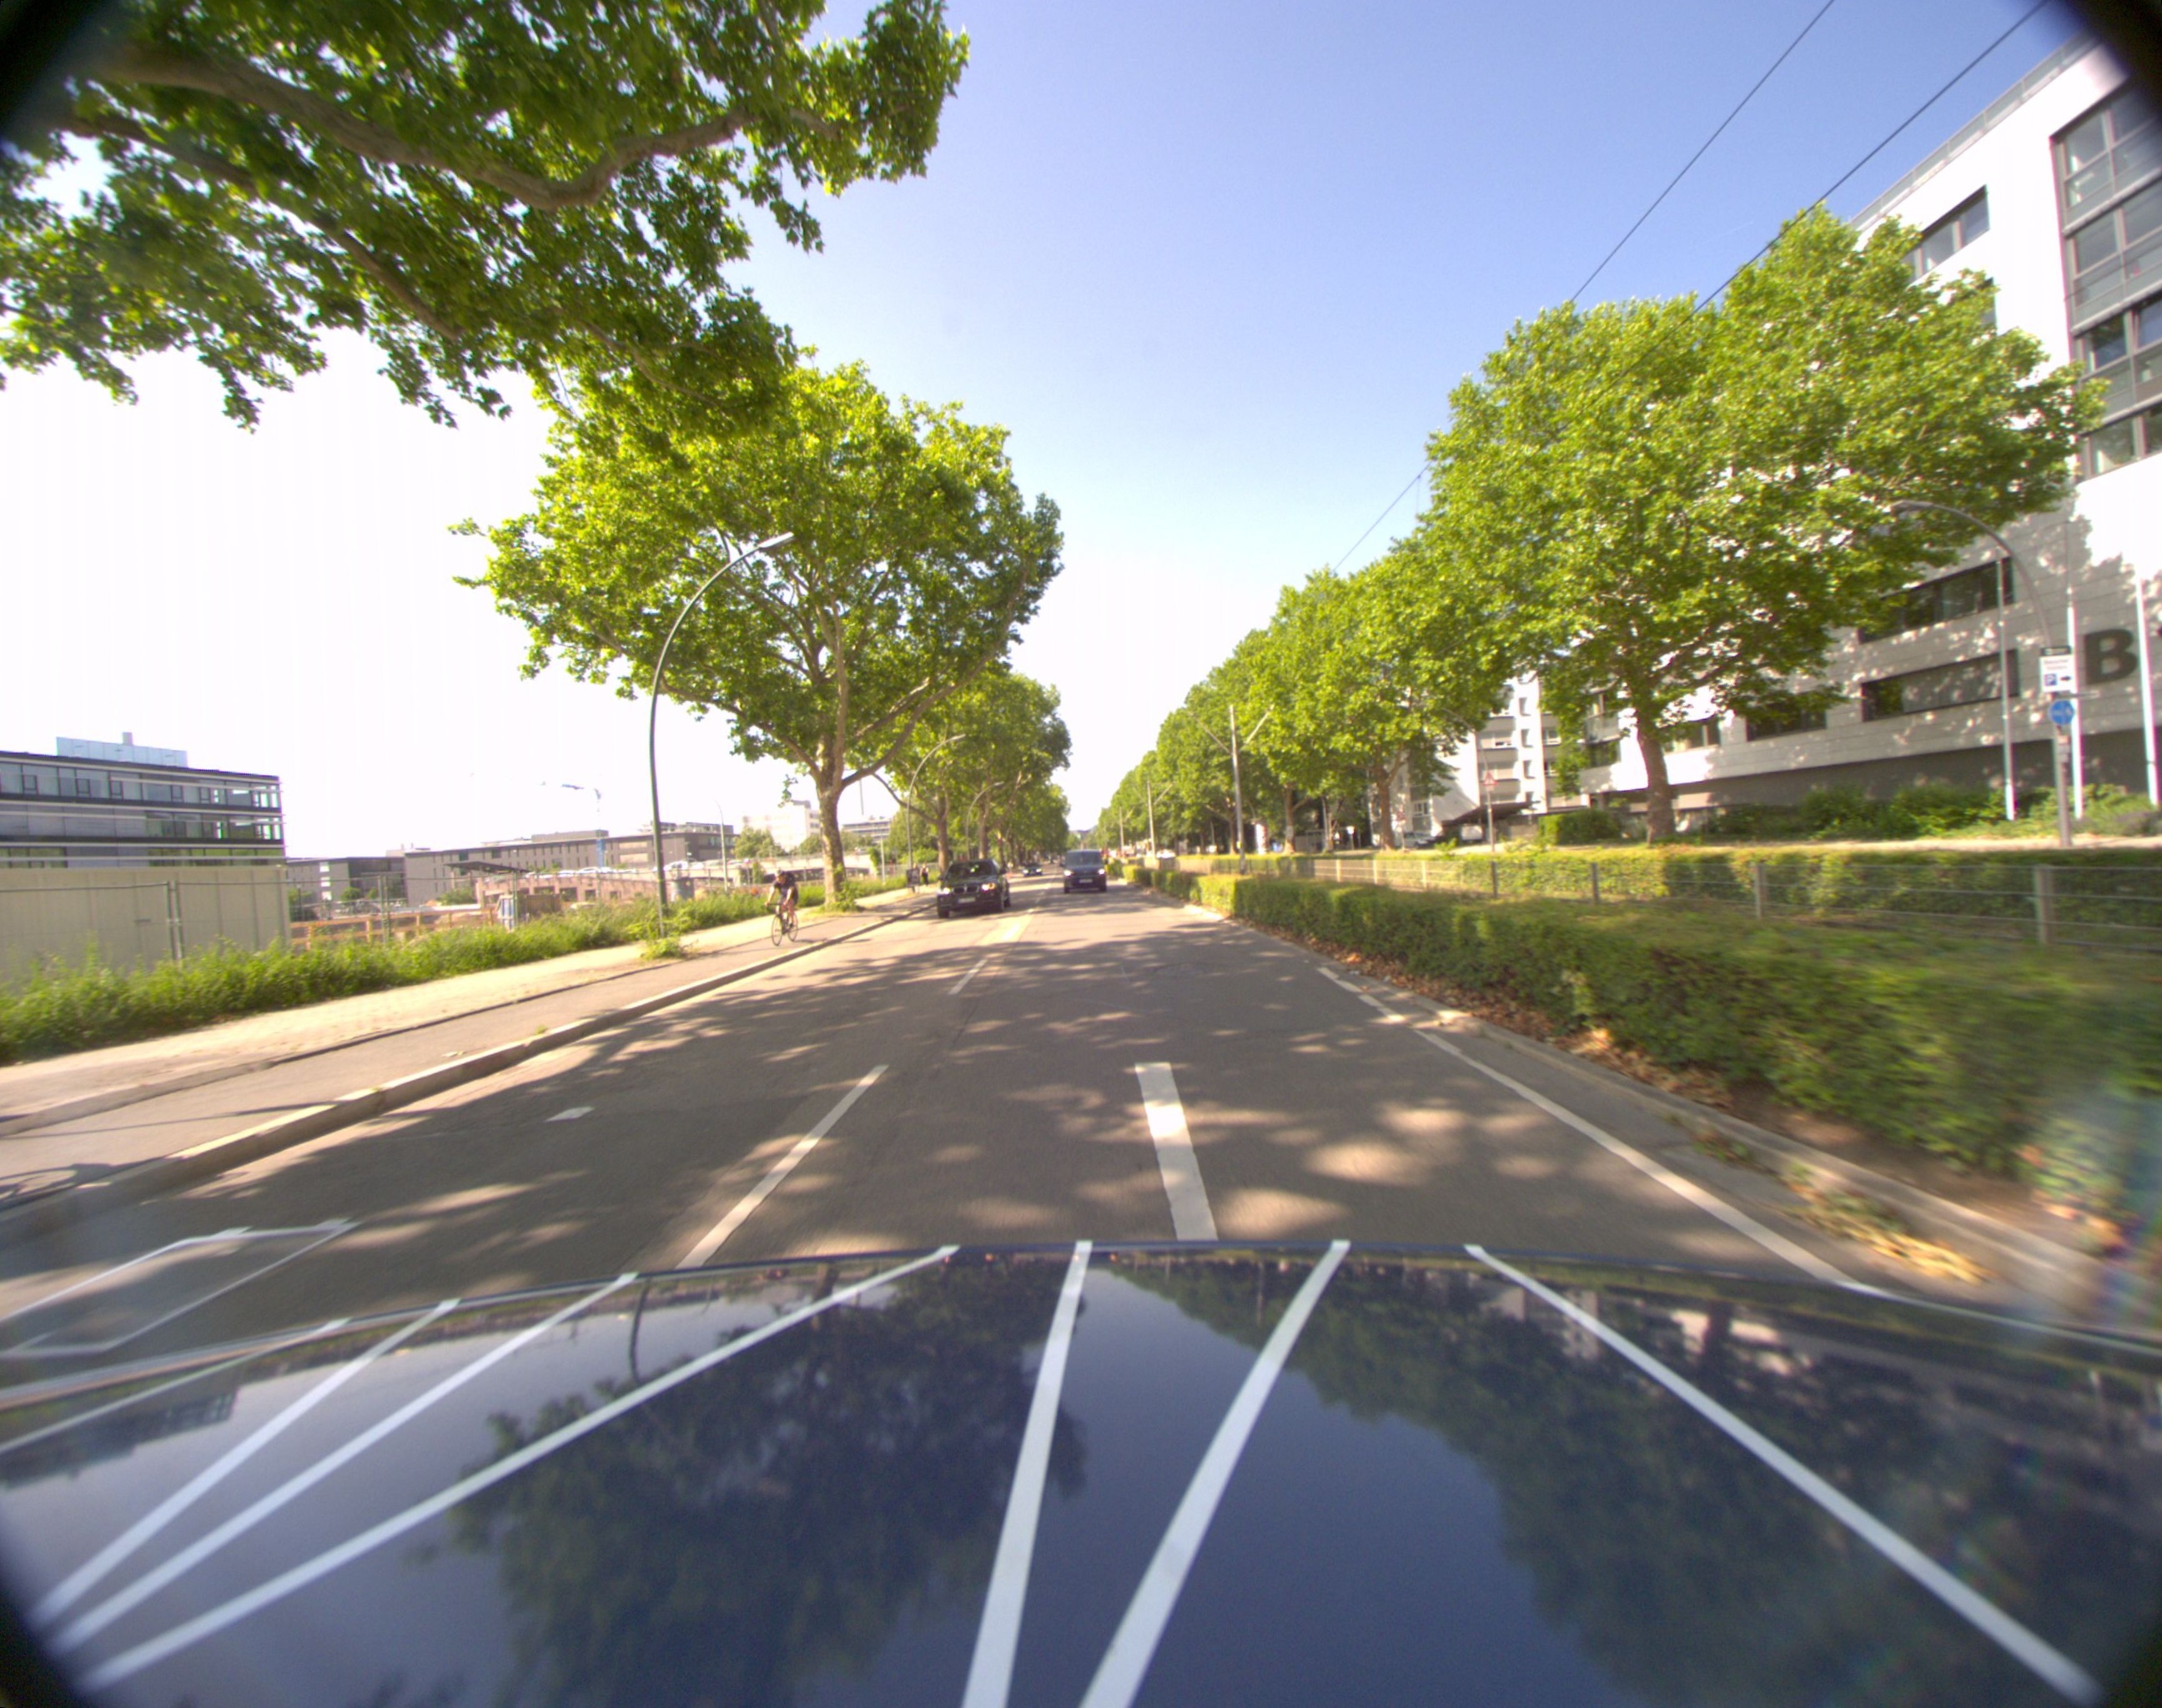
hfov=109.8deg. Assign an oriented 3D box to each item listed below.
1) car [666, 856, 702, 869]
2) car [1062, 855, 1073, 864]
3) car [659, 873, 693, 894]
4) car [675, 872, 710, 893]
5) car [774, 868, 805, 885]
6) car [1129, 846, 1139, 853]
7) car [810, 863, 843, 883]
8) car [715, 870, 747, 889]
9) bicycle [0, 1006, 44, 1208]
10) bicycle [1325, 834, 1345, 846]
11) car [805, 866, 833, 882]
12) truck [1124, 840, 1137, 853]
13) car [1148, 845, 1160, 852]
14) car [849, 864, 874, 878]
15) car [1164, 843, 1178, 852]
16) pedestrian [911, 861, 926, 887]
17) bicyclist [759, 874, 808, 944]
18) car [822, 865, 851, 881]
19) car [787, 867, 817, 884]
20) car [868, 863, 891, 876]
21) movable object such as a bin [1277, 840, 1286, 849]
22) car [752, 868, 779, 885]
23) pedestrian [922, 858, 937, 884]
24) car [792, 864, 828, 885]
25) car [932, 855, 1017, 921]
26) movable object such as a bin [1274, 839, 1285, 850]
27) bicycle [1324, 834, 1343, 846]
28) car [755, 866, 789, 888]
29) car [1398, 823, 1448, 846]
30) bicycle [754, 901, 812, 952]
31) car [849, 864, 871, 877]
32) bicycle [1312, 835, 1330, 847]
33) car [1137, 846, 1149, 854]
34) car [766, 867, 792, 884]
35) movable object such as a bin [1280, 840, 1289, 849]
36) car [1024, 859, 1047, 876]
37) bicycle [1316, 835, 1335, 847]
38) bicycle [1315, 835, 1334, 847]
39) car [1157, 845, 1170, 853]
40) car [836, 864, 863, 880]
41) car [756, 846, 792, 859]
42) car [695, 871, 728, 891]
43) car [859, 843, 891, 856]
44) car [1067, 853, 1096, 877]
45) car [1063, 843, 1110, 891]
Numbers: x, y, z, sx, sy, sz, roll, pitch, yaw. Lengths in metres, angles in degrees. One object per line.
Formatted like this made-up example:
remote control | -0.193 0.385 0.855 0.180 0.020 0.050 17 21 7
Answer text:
car | -55.224 1.143 105.685 3.998 1.501 1.808 -5 0 -3
car | -2.601 1.054 145.760 1.854 1.418 4.151 -5 0 1
car | -61.882 4.499 116.084 3.998 2.723 1.808 -5 0 -3
car | -55.919 4.104 109.420 3.998 2.723 1.808 -5 0 -3
car | -44.816 3.499 116.928 3.998 2.308 1.808 -5 0 -3
car | 12.808 -1.081 183.796 1.701 1.406 3.891 -7 0 -1
car | -39.198 2.912 117.098 4.375 2.723 1.808 -5 0 -3
car | -56.789 4.110 123.319 3.998 2.723 1.808 -5 0 -3
bicycle | -6.526 1.483 3.541 0.653 1.123 1.945 -3 0 0
bicycle | 26.224 -1.412 78.426 1.770 1.096 0.421 -5 1 -2
car | -45.071 3.462 130.722 3.998 2.308 1.808 -5 0 -3
truck | 13.575 -1.940 208.828 2.752 3.259 6.540 -5 0 -1
car | 14.781 -1.100 154.813 1.860 1.445 3.999 -4 0 -1
car | -39.810 3.062 137.780 3.998 2.308 1.808 -5 0 -3
car | 14.896 -1.051 126.143 1.820 1.482 3.912 -2 0 -1
pedestrian | -11.133 1.362 52.206 0.697 1.673 0.959 -5 0 -1
bicyclist | -6.660 1.203 17.079 0.600 1.481 1.214 -2 0 -1
car | -39.535 3.102 122.852 3.998 2.308 1.808 -5 0 -3
car | -44.959 3.487 122.504 3.998 2.308 1.808 -5 0 -3
car | -40.086 3.026 151.504 3.998 2.308 1.808 -5 0 -3
movable object such as a bin | 24.352 -1.155 92.201 0.898 1.031 0.546 -5 0 -1
car | -56.910 4.063 137.118 3.998 2.723 1.808 -5 0 -3
pedestrian | -10.378 1.181 51.999 0.711 1.714 1.066 -5 0 -1
car | -39.192 2.940 110.065 4.375 2.723 1.808 -5 0 -3
car | -3.286 0.998 24.260 1.924 1.720 4.151 -6 0 0
movable object such as a bin | 24.337 -1.172 93.074 0.898 1.182 1.099 -5 0 -1
bicycle | 26.204 -1.413 78.924 1.770 1.096 0.421 -5 1 -2
car | -44.747 3.315 110.007 3.998 2.723 1.808 -5 0 -3
car | 26.514 -1.461 59.126 1.747 1.541 4.348 -5 0 -1
bicycle | -6.648 1.592 17.036 0.599 0.974 1.781 -2 0 -1
car | -45.950 3.414 158.029 3.998 2.308 1.808 -5 0 -3
bicycle | 26.026 -1.414 82.352 1.770 1.096 0.421 -5 1 -2
car | 11.922 -0.808 146.676 1.860 1.445 3.999 -5 0 -1
car | -57.214 4.056 144.075 3.998 2.723 1.808 -5 0 -3
movable object such as a bin | 24.350 -1.150 91.029 0.898 1.031 0.546 -5 0 -1
car | -4.431 1.266 74.304 1.854 1.418 4.151 -5 0 1
bicycle | 26.024 -1.408 80.804 1.770 1.096 0.421 -5 1 -2
bicycle | 26.047 -1.411 81.266 1.770 1.096 0.421 -5 1 -2
car | 15.522 -0.907 142.850 1.856 1.445 3.999 -5 0 -1
car | -39.911 3.096 130.887 3.998 2.308 1.808 -5 0 -3
car | -41.781 -0.209 103.442 3.998 1.501 1.808 -5 0 -3
car | -56.584 4.123 116.436 3.998 2.723 1.808 -5 0 -3
car | -28.777 -0.598 106.306 3.998 1.501 1.808 -5 0 -3
car | 0.023 0.790 55.558 1.924 1.543 4.151 -5 0 0
car | 0.252 0.507 32.836 1.789 1.839 4.000 -3 0 1
